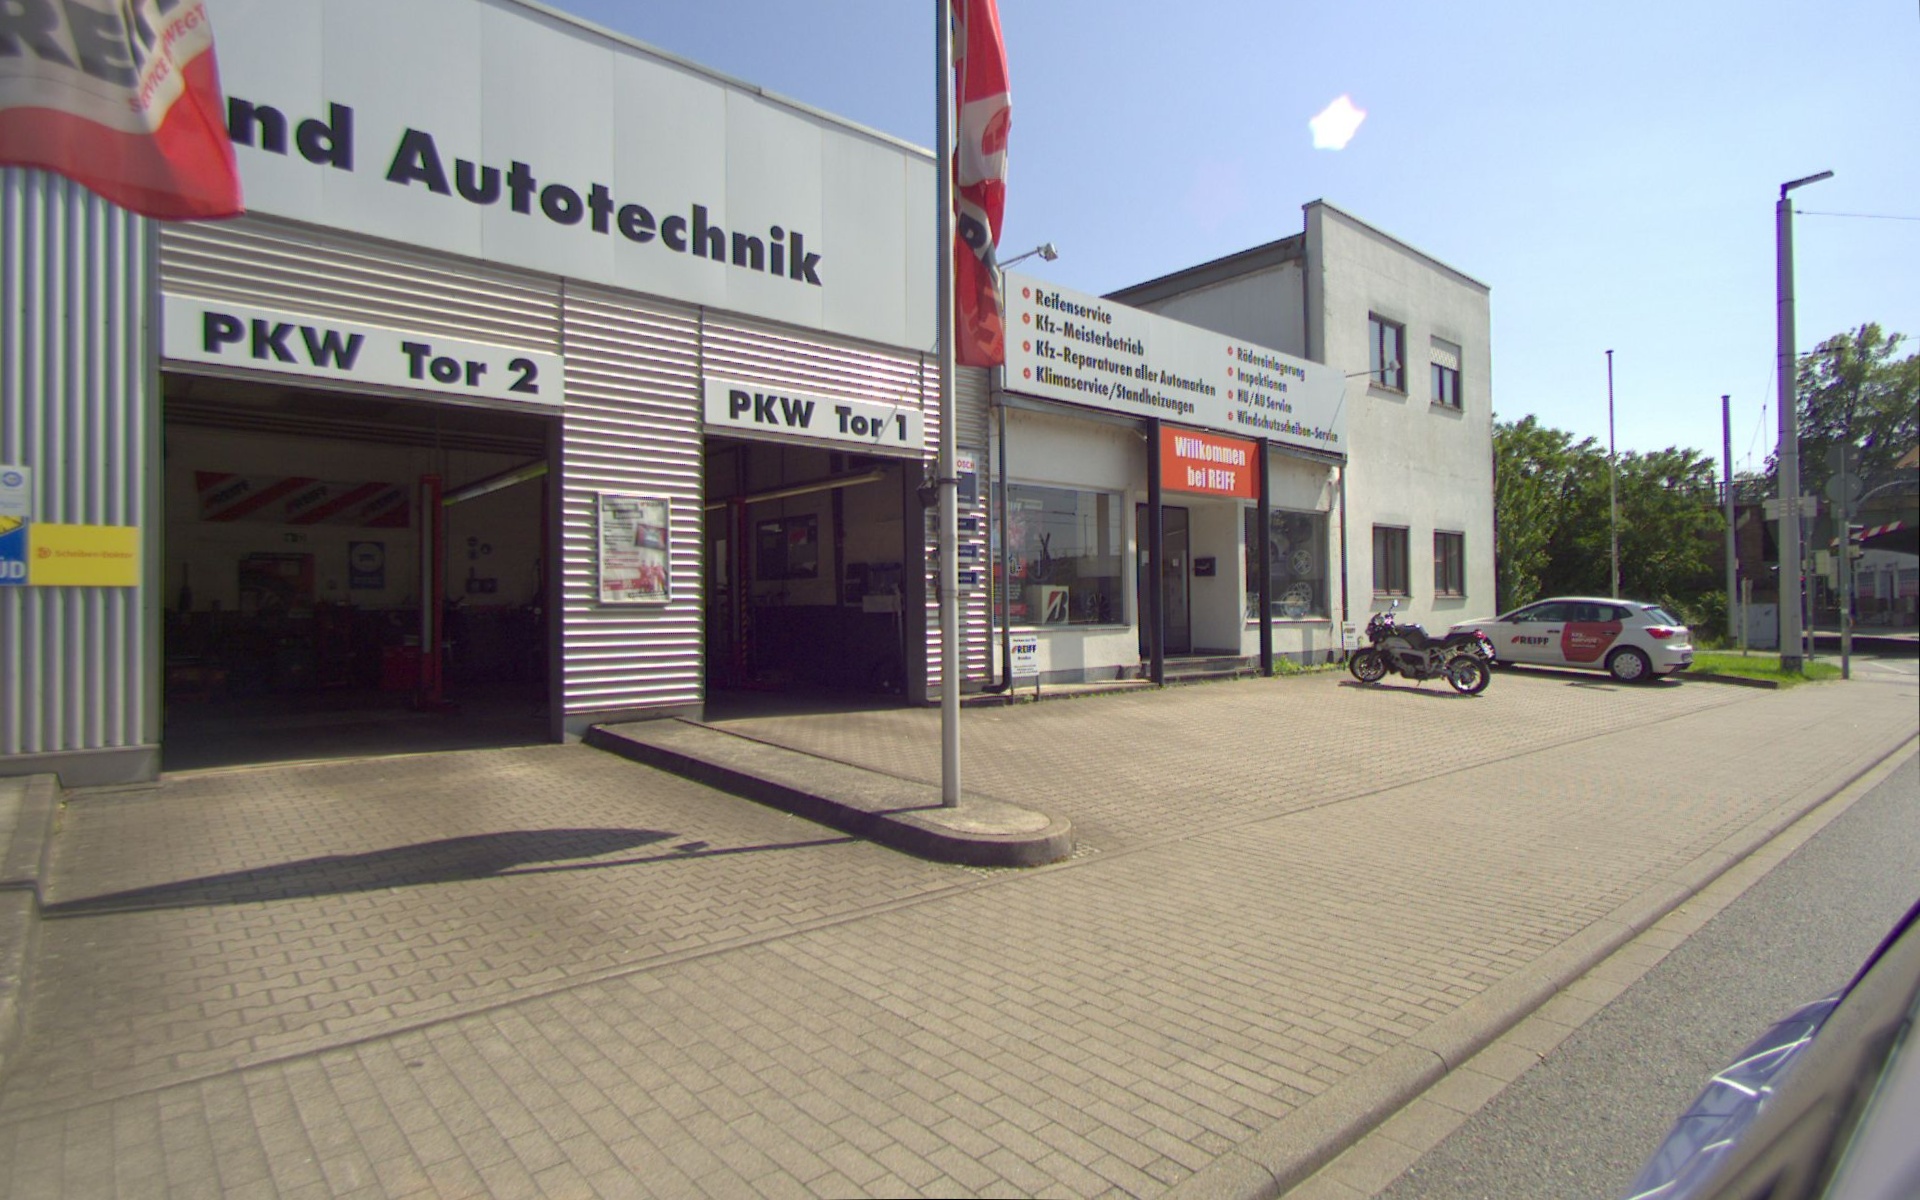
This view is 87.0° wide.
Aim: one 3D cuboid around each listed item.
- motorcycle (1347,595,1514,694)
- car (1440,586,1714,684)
[{"bbox_3d":[7.134,0.626,15.455,0.719,1.325,2.187,0,2,-42],"label":"motorcycle"},{"bbox_3d":[11.408,0.558,18.906,1.858,1.480,3.994,0,3,-42],"label":"car"}]
